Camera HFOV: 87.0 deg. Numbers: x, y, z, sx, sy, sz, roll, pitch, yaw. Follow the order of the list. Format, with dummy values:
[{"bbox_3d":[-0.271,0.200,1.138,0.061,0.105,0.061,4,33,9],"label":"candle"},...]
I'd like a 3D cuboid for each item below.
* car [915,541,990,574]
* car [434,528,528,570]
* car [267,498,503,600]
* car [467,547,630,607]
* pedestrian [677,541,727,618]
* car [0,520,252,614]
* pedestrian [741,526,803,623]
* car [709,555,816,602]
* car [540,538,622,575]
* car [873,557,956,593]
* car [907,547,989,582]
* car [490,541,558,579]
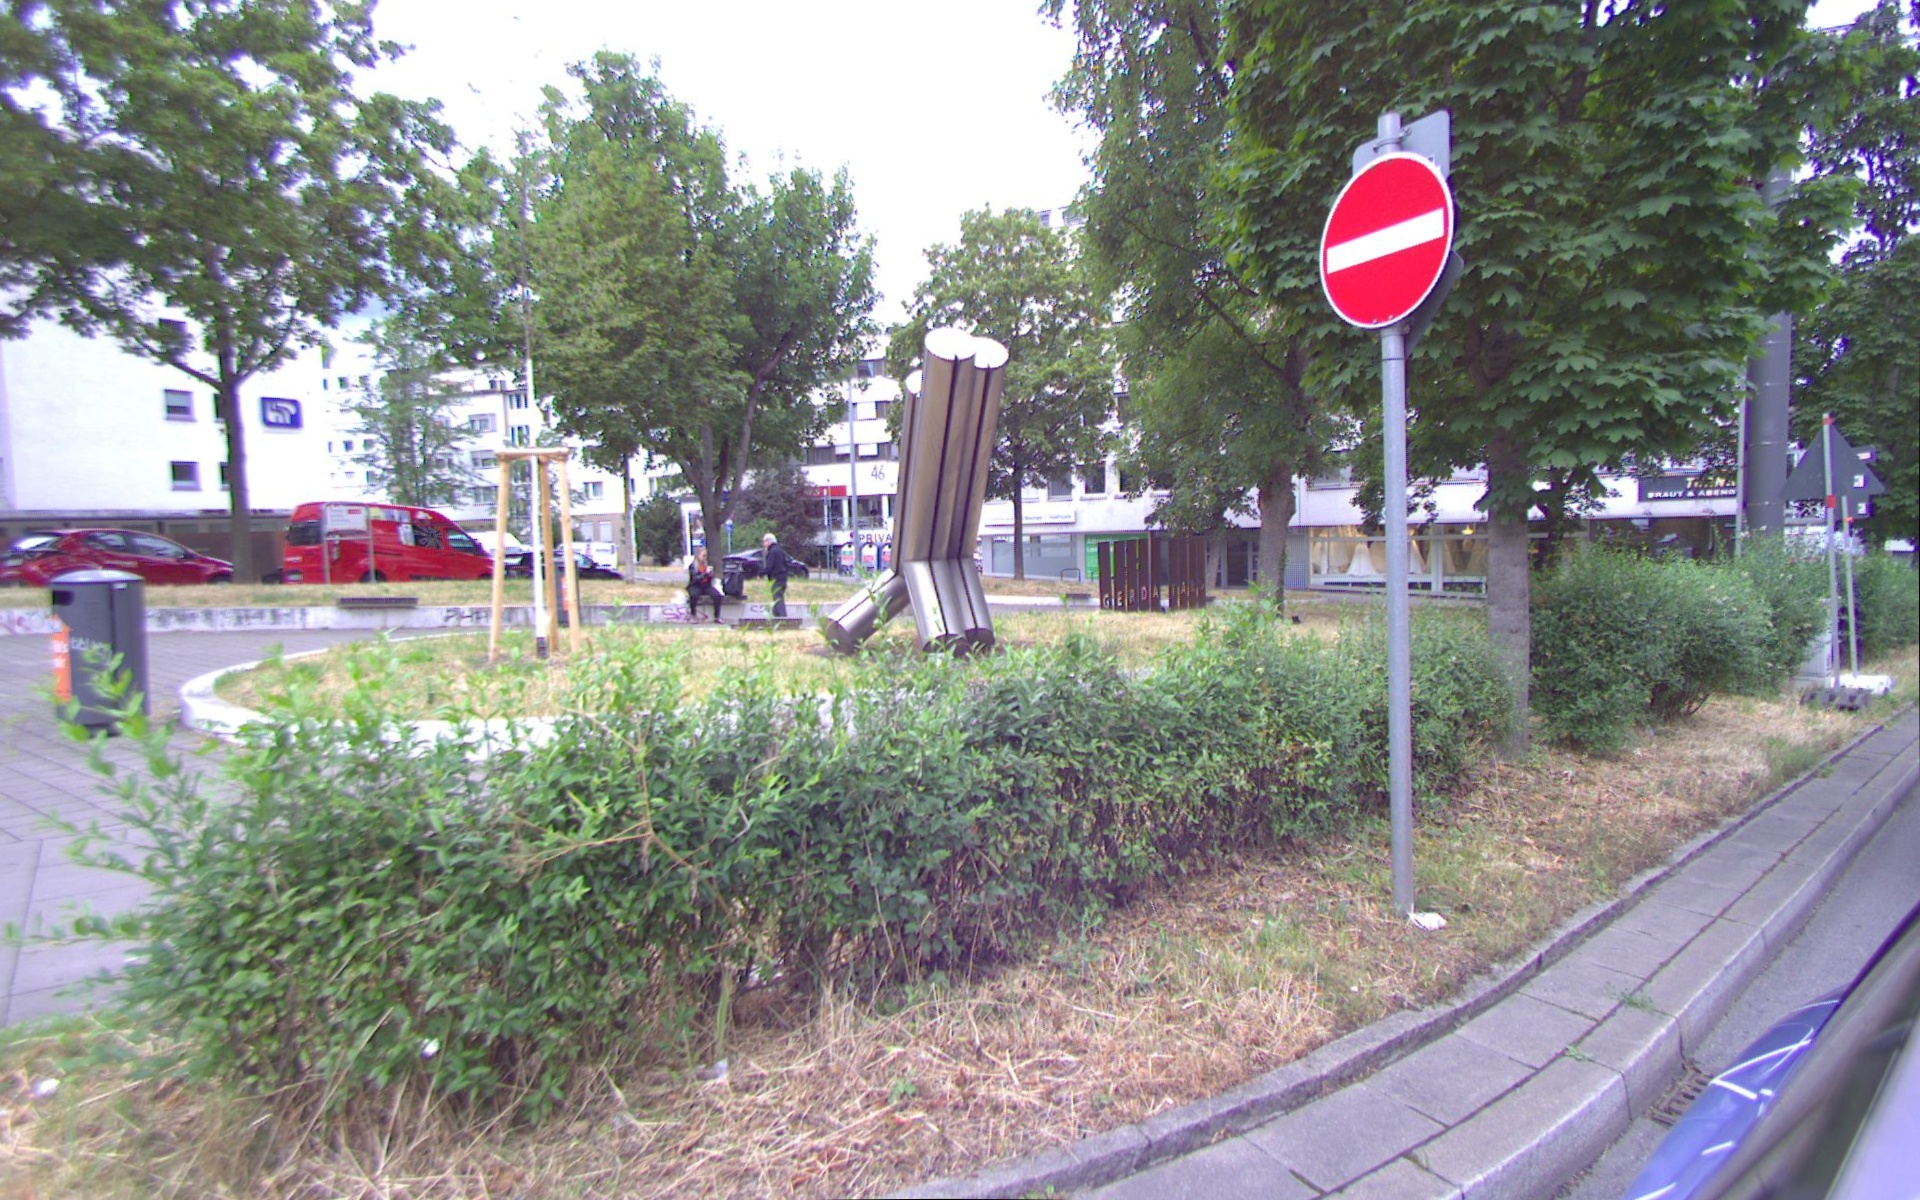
[{"bbox_3d":[-0.445,-2.345,56.497,3.977,1.708,1.667,-1,0,37],"label":"car"},{"bbox_3d":[-22.931,-2.440,48.434,4.581,1.900,2.078,2,2,35],"label":"car"},{"bbox_3d":[-13.845,-1.214,24.777,2.101,2.240,4.862,2,2,20],"label":"car"},{"bbox_3d":[-11.985,-0.700,29.772,1.977,1.584,4.384,2,2,22],"label":"car"},{"bbox_3d":[-4.474,-0.366,17.539,0.672,1.308,0.657,0,2,-32],"label":"pedestrian"},{"bbox_3d":[-15.905,-0.637,19.246,1.729,1.584,3.691,2,2,22],"label":"car"},{"bbox_3d":[-3.203,-0.444,17.290,0.719,1.622,0.786,2,2,26],"label":"pedestrian"},{"bbox_3d":[-7.860,-0.896,40.731,1.977,1.762,4.750,2,2,22],"label":"car"},{"bbox_3d":[-21.610,-2.492,57.633,4.759,1.969,2.198,3,3,38],"label":"car"},{"bbox_3d":[-2.347,-1.299,51.837,3.982,1.738,1.972,3,3,40],"label":"car"},{"bbox_3d":[-0.658,-1.892,53.593,3.982,1.738,1.972,3,3,40],"label":"car"},{"bbox_3d":[-26.504,-2.438,61.454,3.968,2.271,1.985,2,2,34],"label":"car"}]
